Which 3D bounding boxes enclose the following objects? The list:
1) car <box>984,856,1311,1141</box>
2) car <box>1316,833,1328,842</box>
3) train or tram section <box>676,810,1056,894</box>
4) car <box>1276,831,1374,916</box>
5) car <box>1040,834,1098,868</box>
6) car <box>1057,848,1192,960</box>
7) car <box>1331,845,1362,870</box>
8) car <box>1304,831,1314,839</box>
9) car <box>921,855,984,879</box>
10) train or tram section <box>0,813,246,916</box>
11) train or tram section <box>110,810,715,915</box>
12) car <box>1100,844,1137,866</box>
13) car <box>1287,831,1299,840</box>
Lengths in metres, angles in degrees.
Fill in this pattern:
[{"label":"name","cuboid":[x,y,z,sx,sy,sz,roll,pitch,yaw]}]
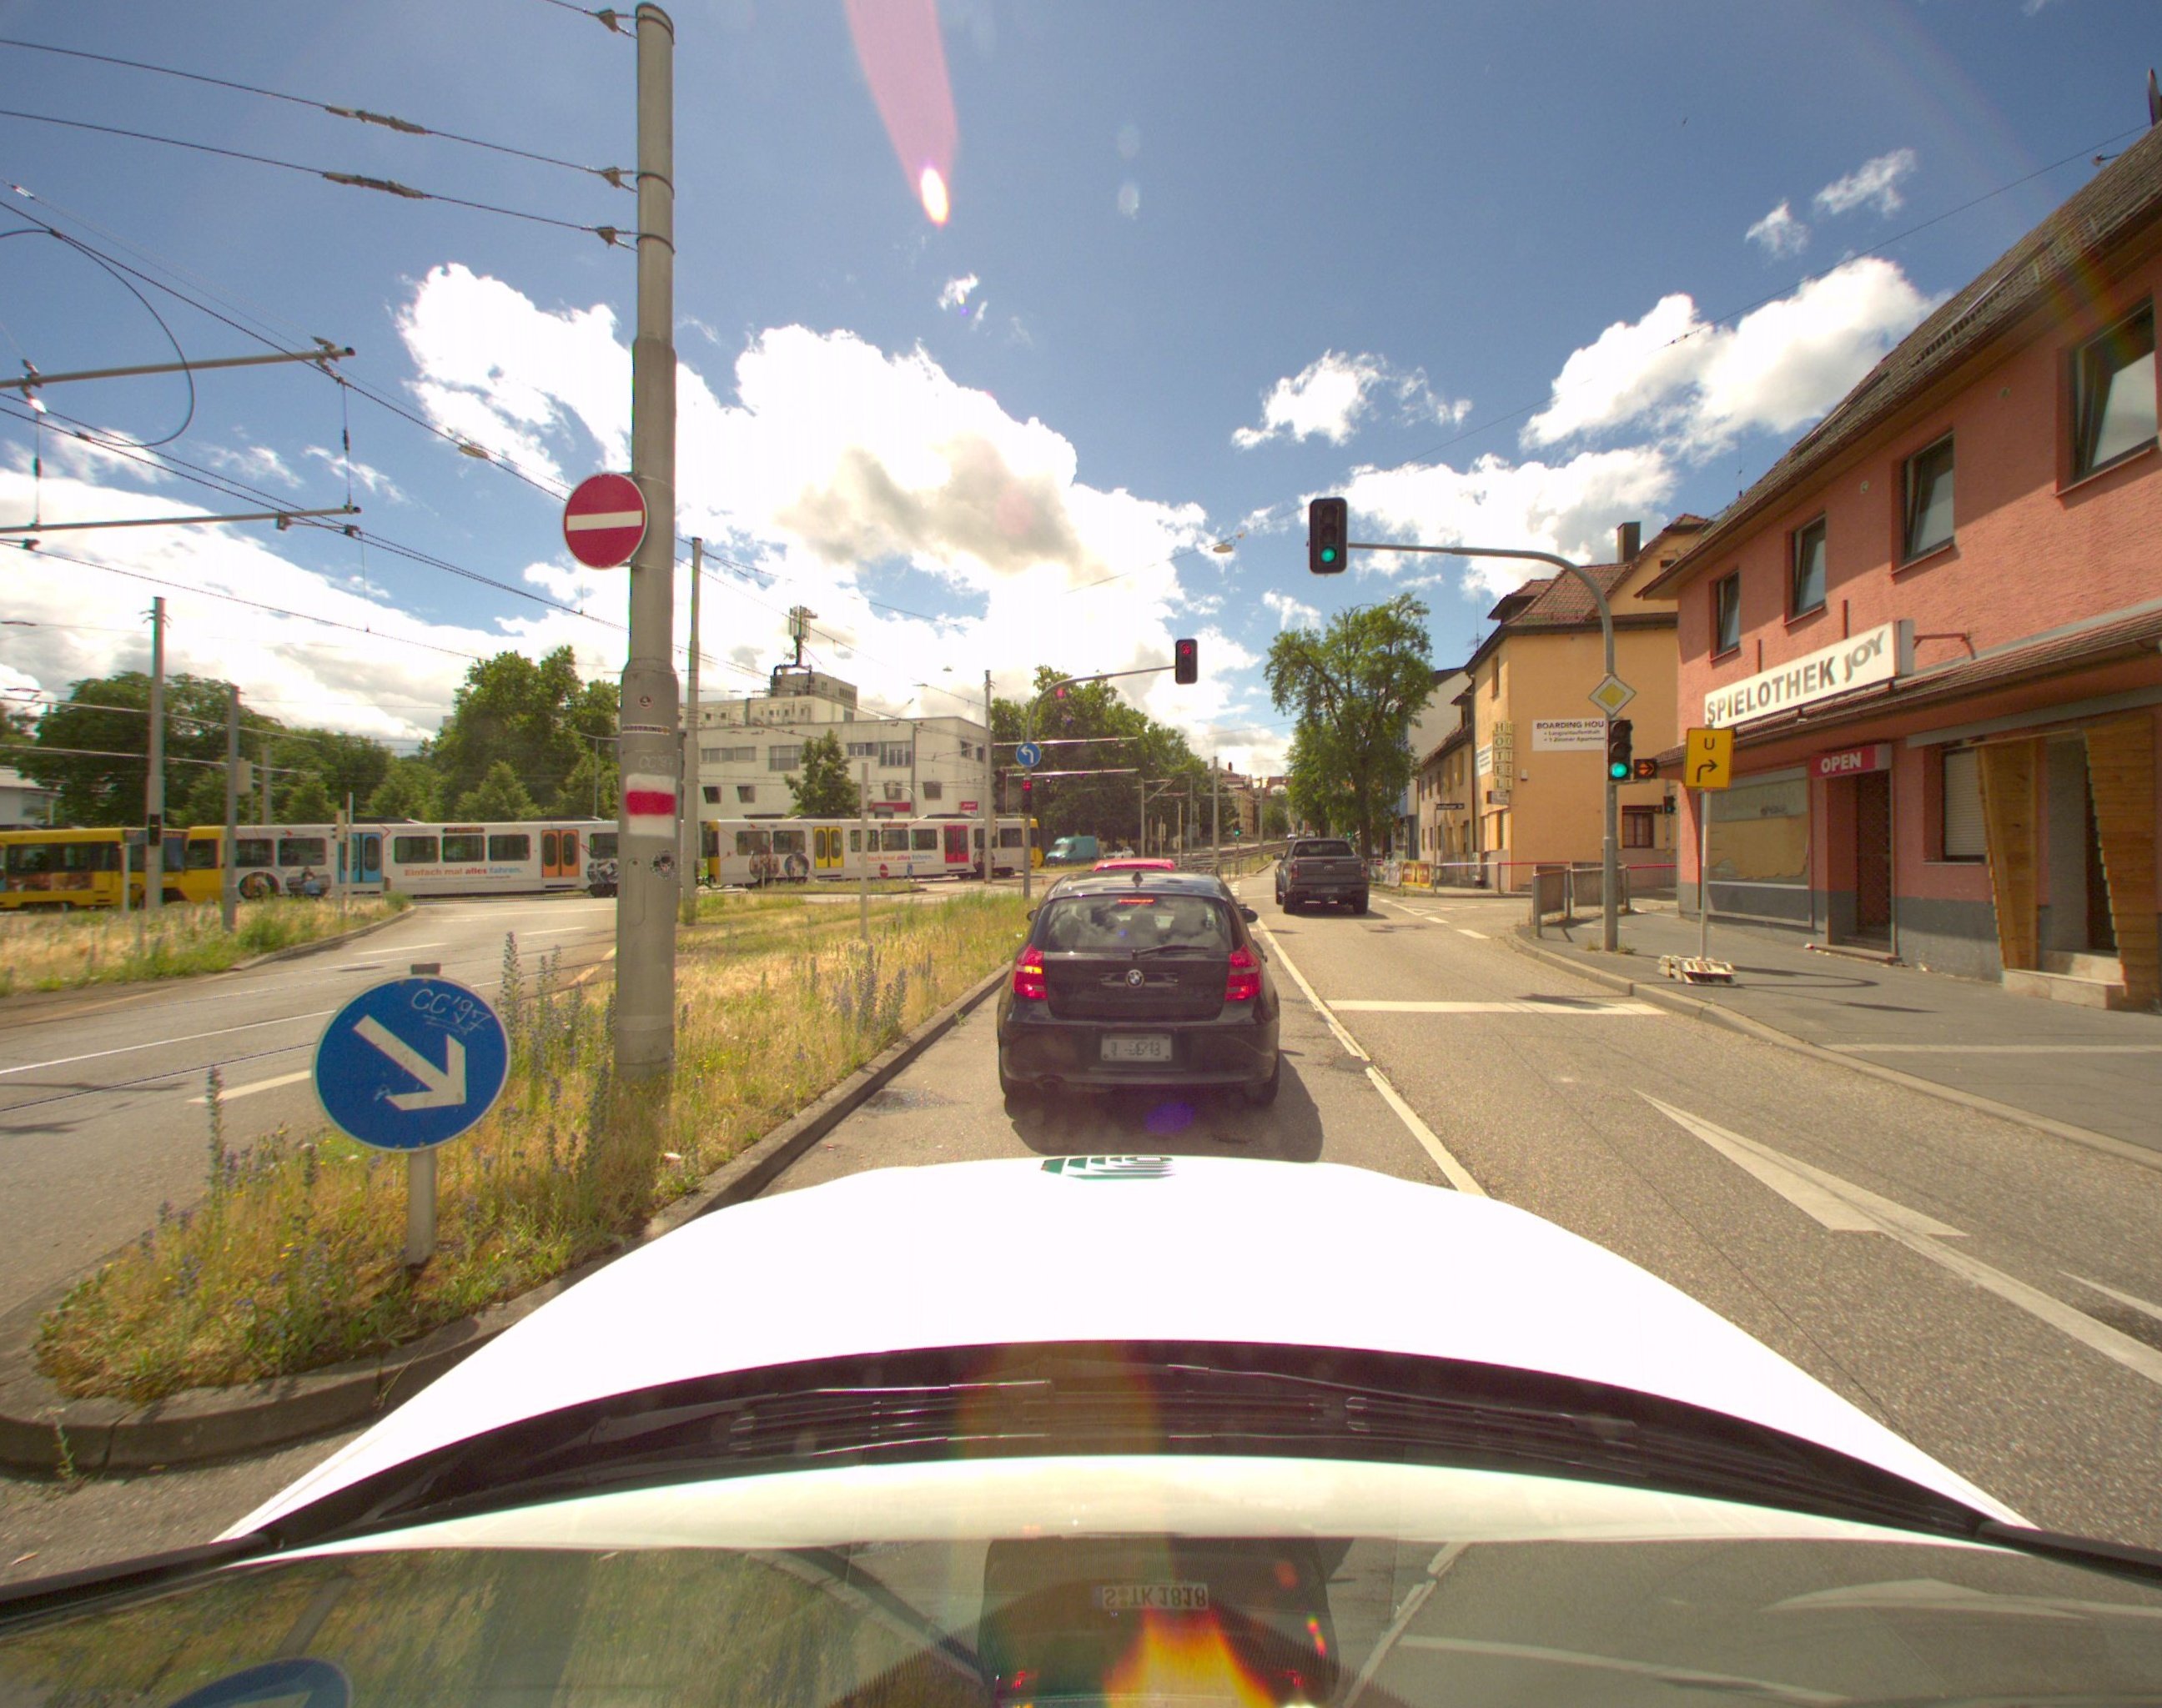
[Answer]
[{"label":"car","cuboid":[0.345,0.795,6.320,1.696,1.452,3.999,-2,-1,0]},{"label":"car","cuboid":[43.087,-2.929,145.382,1.800,1.468,4.020,-1,0,20]},{"label":"train or tram section","cuboid":[-10.648,-0.174,44.387,20.146,3.814,3.718,-1,-1,-38]},{"label":"car","cuboid":[6.210,0.483,21.307,1.986,1.887,5.167,-2,-1,12]},{"label":"car","cuboid":[-0.987,-0.242,69.180,2.110,2.654,5.726,-2,-1,31]},{"label":"car","cuboid":[0.844,0.697,12.913,1.615,1.473,4.011,-2,-1,10]},{"label":"car","cuboid":[18.106,0.218,55.757,1.774,1.596,4.016,-2,-1,15]},{"label":"car","cuboid":[57.685,-4.785,206.025,1.976,2.014,4.022,-2,-1,23]},{"label":"car","cuboid":[-9.069,0.890,57.758,1.835,1.585,4.195,-3,-1,43]},{"label":"train or tram section","cuboid":[-46.336,0.664,34.175,19.989,3.829,3.766,-2,-1,4]},{"label":"train or tram section","cuboid":[-27.686,0.205,35.915,20.617,3.879,3.739,-1,-1,-17]},{"label":"car","cuboid":[3.662,0.114,78.100,1.836,1.928,4.824,-2,-1,24]},{"label":"car","cuboid":[48.649,-4.245,186.920,1.976,2.014,4.022,-2,-1,23]}]
